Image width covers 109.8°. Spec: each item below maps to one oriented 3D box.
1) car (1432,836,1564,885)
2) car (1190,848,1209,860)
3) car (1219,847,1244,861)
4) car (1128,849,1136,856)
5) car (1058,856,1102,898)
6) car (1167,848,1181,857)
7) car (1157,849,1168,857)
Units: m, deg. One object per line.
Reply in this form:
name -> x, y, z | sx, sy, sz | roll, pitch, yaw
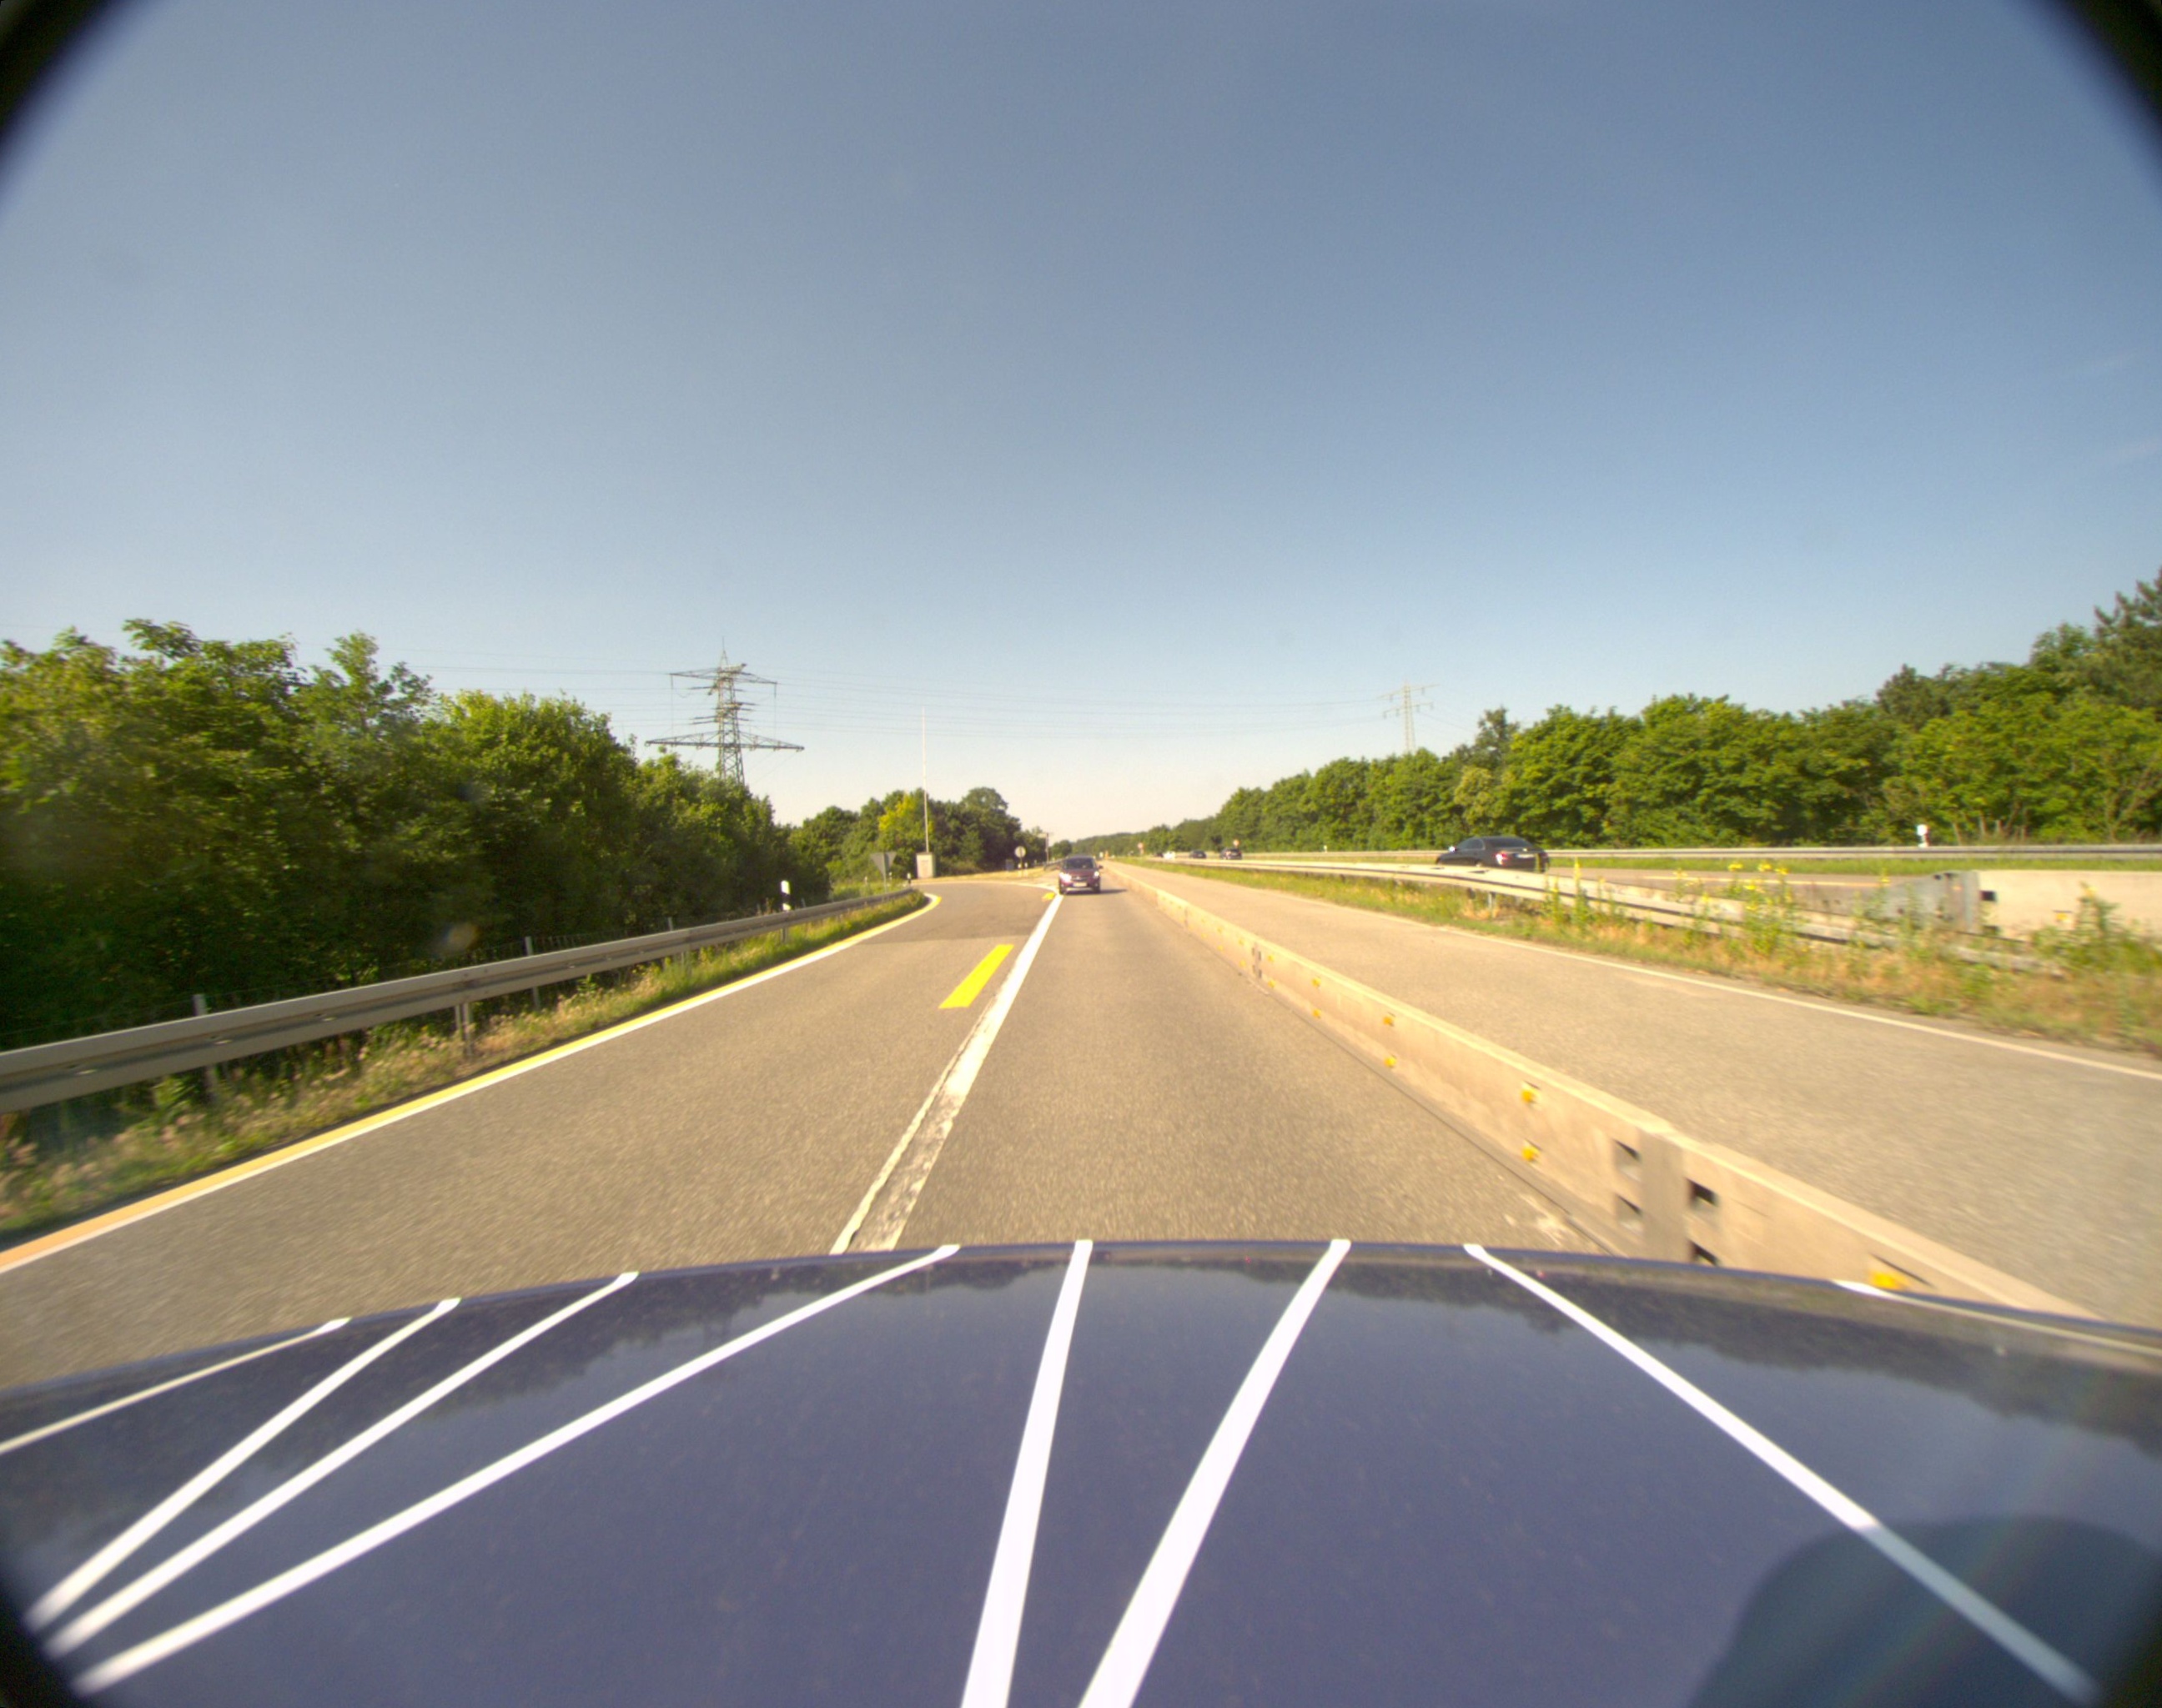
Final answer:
car -> 13.835, 0.197, 25.573 | 1.844, 1.432, 4.813 | -2, 0, 1
car -> 15.690, 0.023, 100.815 | 1.820, 1.479, 5.023 | -1, 0, 1
car -> 16.217, 0.016, 82.061 | 1.801, 1.426, 4.592 | -3, 0, 0
car -> 16.573, -0.547, 248.960 | 1.999, 2.022, 5.167 | -3, 0, -1
car -> 0.023, 0.864, 30.534 | 1.587, 1.491, 4.416 | -2, 0, 2
car -> 16.629, -0.210, 136.403 | 1.764, 1.462, 4.794 | -4, 0, 0
car -> 16.596, -0.212, 154.845 | 1.743, 1.485, 4.109 | -3, 0, 0
